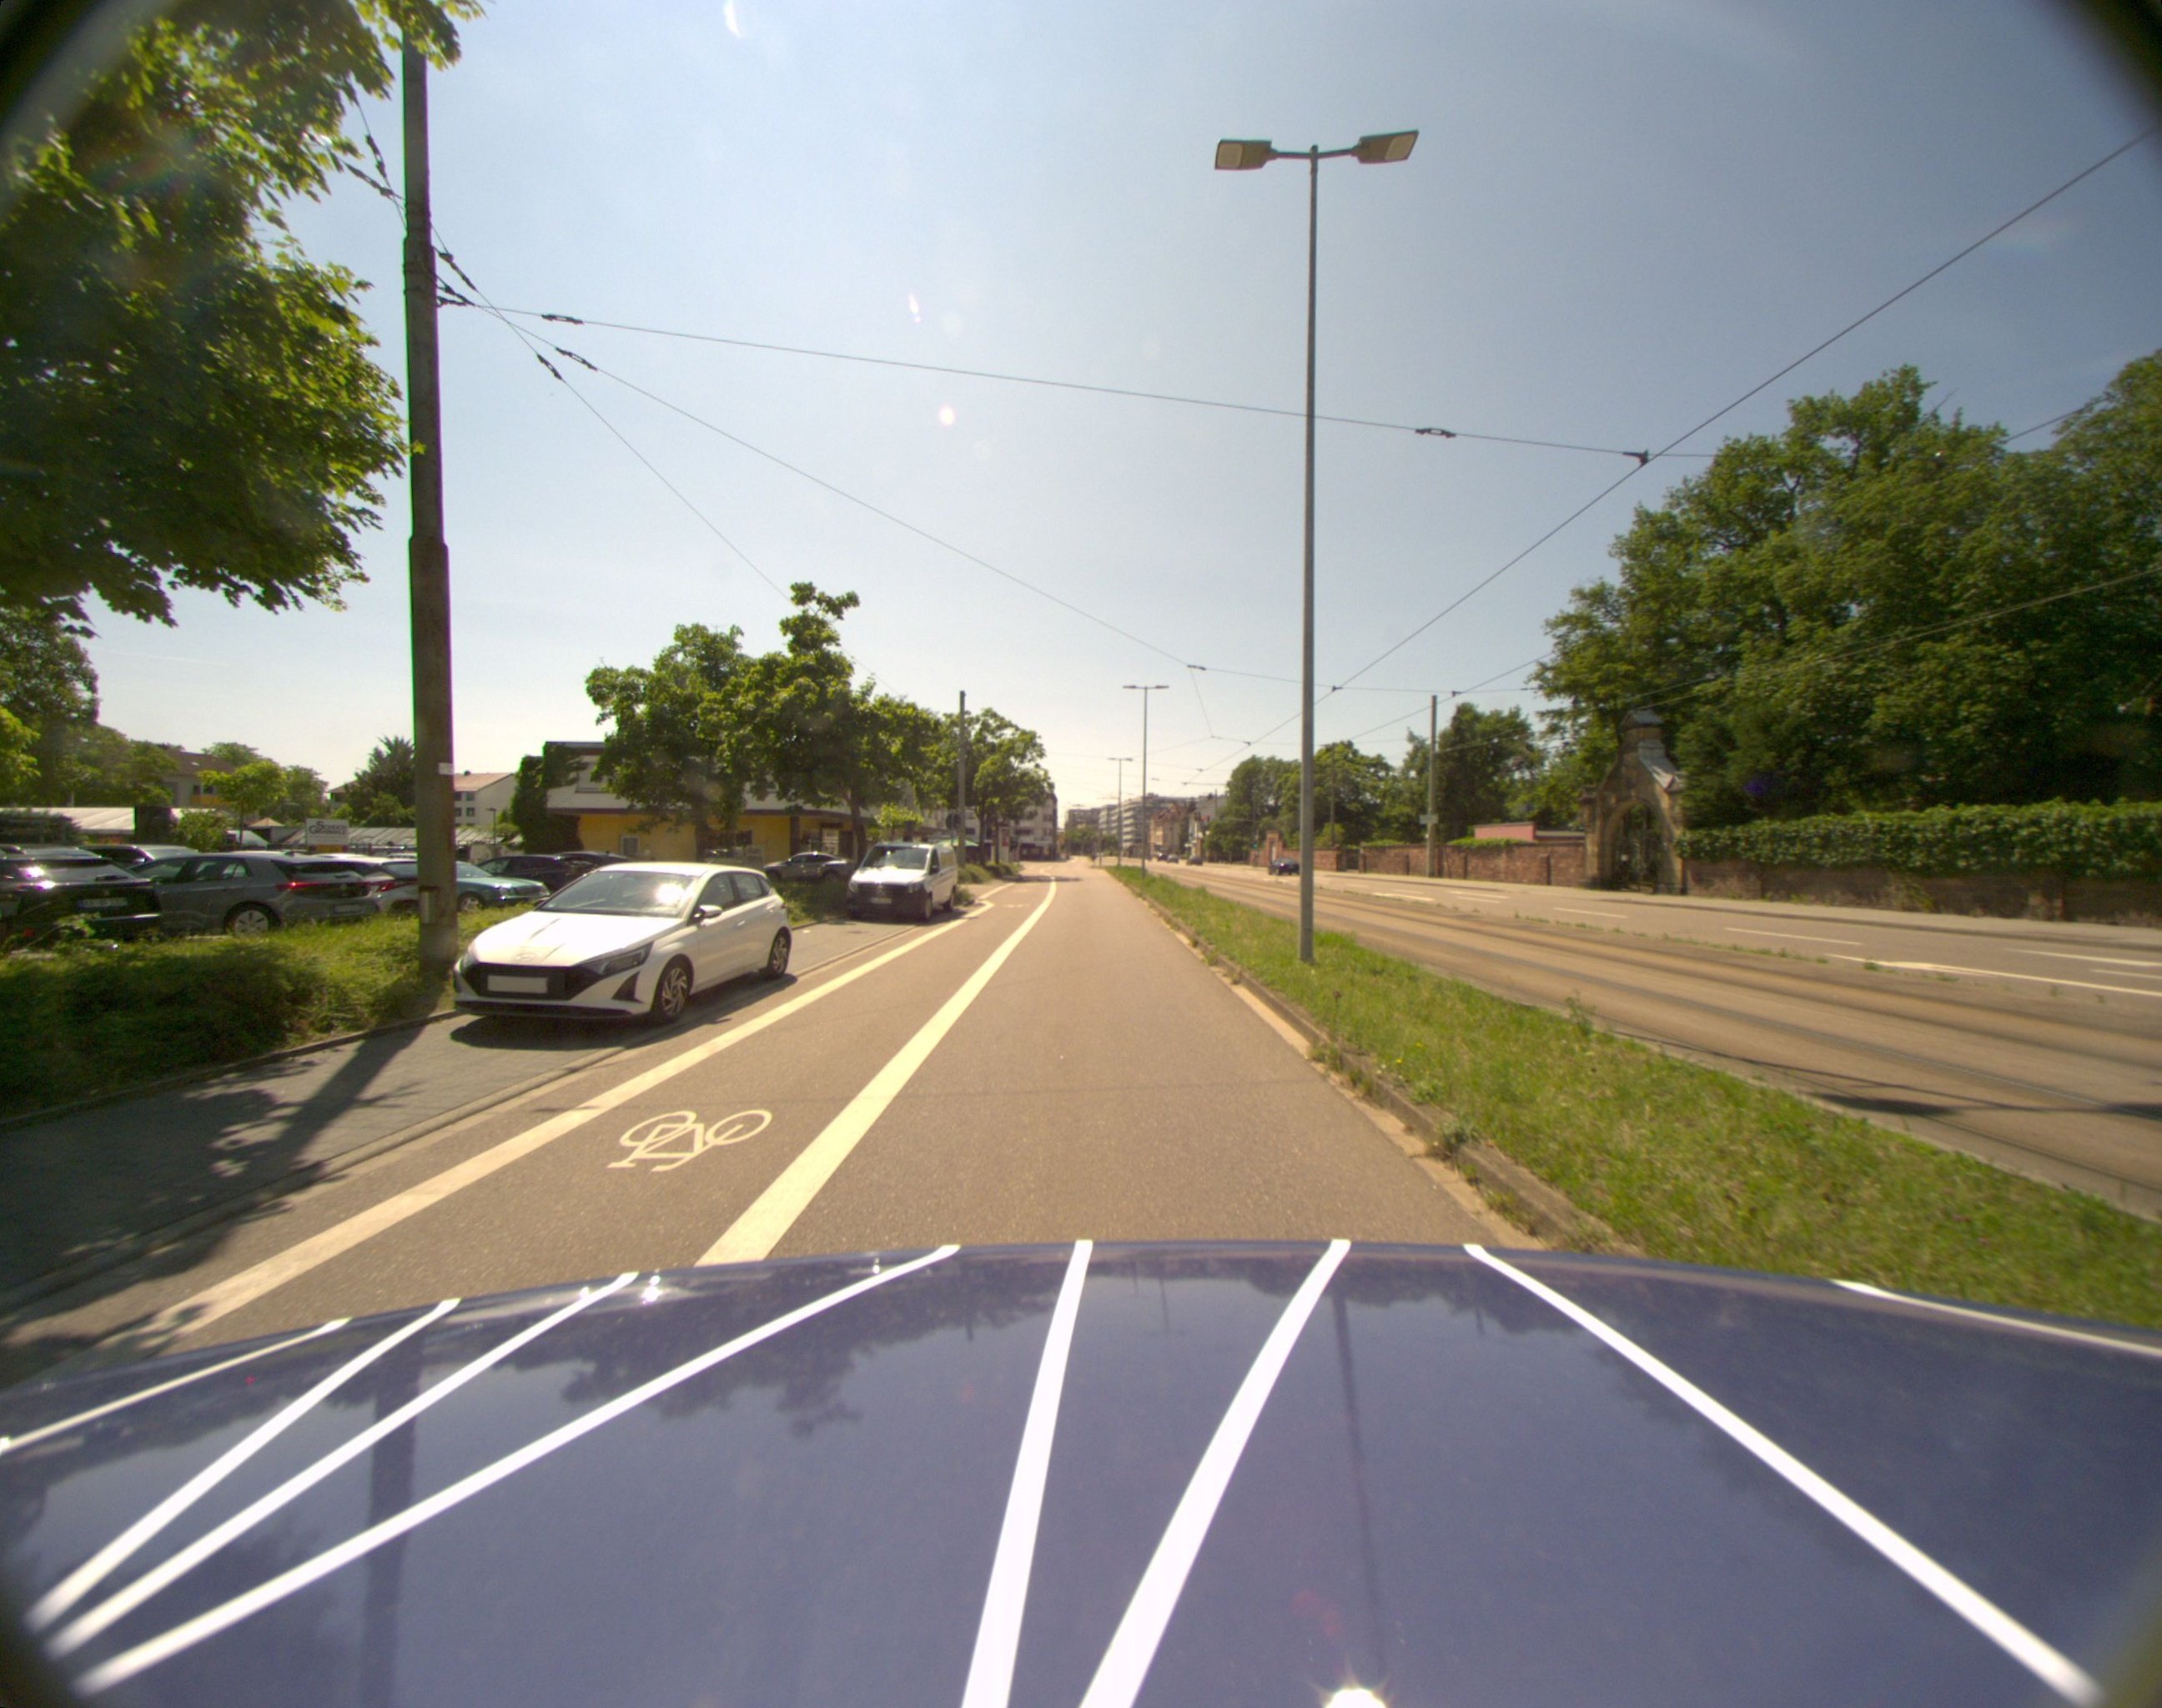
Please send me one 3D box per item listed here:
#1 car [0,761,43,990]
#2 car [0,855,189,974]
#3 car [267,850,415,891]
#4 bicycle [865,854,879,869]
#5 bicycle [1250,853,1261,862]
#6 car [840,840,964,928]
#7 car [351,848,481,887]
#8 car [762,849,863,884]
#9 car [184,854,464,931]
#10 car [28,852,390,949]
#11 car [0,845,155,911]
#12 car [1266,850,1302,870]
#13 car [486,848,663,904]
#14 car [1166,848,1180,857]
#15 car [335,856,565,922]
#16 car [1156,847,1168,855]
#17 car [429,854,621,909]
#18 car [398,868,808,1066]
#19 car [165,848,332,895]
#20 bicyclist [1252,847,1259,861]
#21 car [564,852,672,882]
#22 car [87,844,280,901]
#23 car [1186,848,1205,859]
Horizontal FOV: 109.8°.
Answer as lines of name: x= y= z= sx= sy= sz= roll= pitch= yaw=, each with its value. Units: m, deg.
car: x=-15.064 y=0.352 z=7.643 sx=6.355 sy=2.514 sz=2.263 roll=-2 pitch=1 yaw=3
car: x=-15.188 y=0.828 z=10.324 sx=3.897 sy=1.463 sz=1.727 roll=-2 pitch=1 yaw=-2
car: x=-27.751 y=0.608 z=28.577 sx=3.989 sy=1.361 sz=1.632 roll=2 pitch=1 yaw=1
bicycle: x=-14.505 y=0.517 z=52.826 sx=0.544 sy=1.062 sz=1.900 roll=0 pitch=1 yaw=-4
bicycle: x=19.688 y=0.385 z=85.827 sx=0.654 sy=0.951 sz=2.114 roll=0 pitch=1 yaw=-1
car: x=-4.456 y=0.663 z=19.789 sx=1.884 sy=1.905 sz=5.124 roll=2 pitch=1 yaw=1
car: x=-27.444 y=0.541 z=31.436 sx=3.989 sy=1.428 sz=1.632 roll=2 pitch=1 yaw=1
car: x=-12.781 y=0.564 z=36.401 sx=4.150 sy=1.601 sz=1.943 roll=0 pitch=1 yaw=-3
car: x=-15.273 y=0.738 z=15.498 sx=3.896 sy=1.317 sz=1.727 roll=-2 pitch=1 yaw=-1
car: x=-14.692 y=0.732 z=13.024 sx=3.898 sy=1.372 sz=1.727 roll=-2 pitch=1 yaw=-6
car: x=-27.989 y=0.611 z=20.521 sx=3.989 sy=1.595 sz=1.632 roll=2 pitch=1 yaw=1
car: x=15.571 y=0.434 z=58.556 sx=1.760 sy=1.440 sz=4.123 roll=-2 pitch=1 yaw=2
car: x=-15.379 y=0.634 z=23.229 sx=4.210 sy=1.481 sz=1.678 roll=-2 pitch=1 yaw=-1
car: x=15.647 y=-0.270 z=129.808 sx=1.845 sy=1.408 sz=4.710 roll=-3 pitch=1 yaw=1
car: x=-14.740 y=0.779 z=17.913 sx=3.896 sy=1.317 sz=1.727 roll=-2 pitch=1 yaw=-1
car: x=15.706 y=-0.612 z=147.357 sx=1.845 sy=1.546 sz=4.465 roll=0 pitch=1 yaw=0
car: x=-15.009 y=0.714 z=20.667 sx=3.896 sy=1.273 sz=1.727 roll=-2 pitch=1 yaw=-1
car: x=-4.631 y=0.955 z=8.253 sx=1.726 sy=1.420 sz=4.208 roll=2 pitch=1 yaw=1
car: x=-28.434 y=0.581 z=26.025 sx=3.989 sy=1.436 sz=1.632 roll=2 pitch=1 yaw=1
bicyclist: x=19.692 y=0.009 z=85.849 sx=0.654 sy=1.488 sz=0.662 roll=0 pitch=1 yaw=-1
car: x=-22.204 y=0.600 z=36.540 sx=4.149 sy=1.367 sz=1.748 roll=0 pitch=1 yaw=1
car: x=-27.497 y=0.533 z=23.368 sx=3.989 sy=1.591 sz=1.668 roll=2 pitch=1 yaw=1
car: x=15.685 y=-0.060 z=104.587 sx=1.845 sy=1.408 sz=5.033 roll=-3 pitch=1 yaw=1
